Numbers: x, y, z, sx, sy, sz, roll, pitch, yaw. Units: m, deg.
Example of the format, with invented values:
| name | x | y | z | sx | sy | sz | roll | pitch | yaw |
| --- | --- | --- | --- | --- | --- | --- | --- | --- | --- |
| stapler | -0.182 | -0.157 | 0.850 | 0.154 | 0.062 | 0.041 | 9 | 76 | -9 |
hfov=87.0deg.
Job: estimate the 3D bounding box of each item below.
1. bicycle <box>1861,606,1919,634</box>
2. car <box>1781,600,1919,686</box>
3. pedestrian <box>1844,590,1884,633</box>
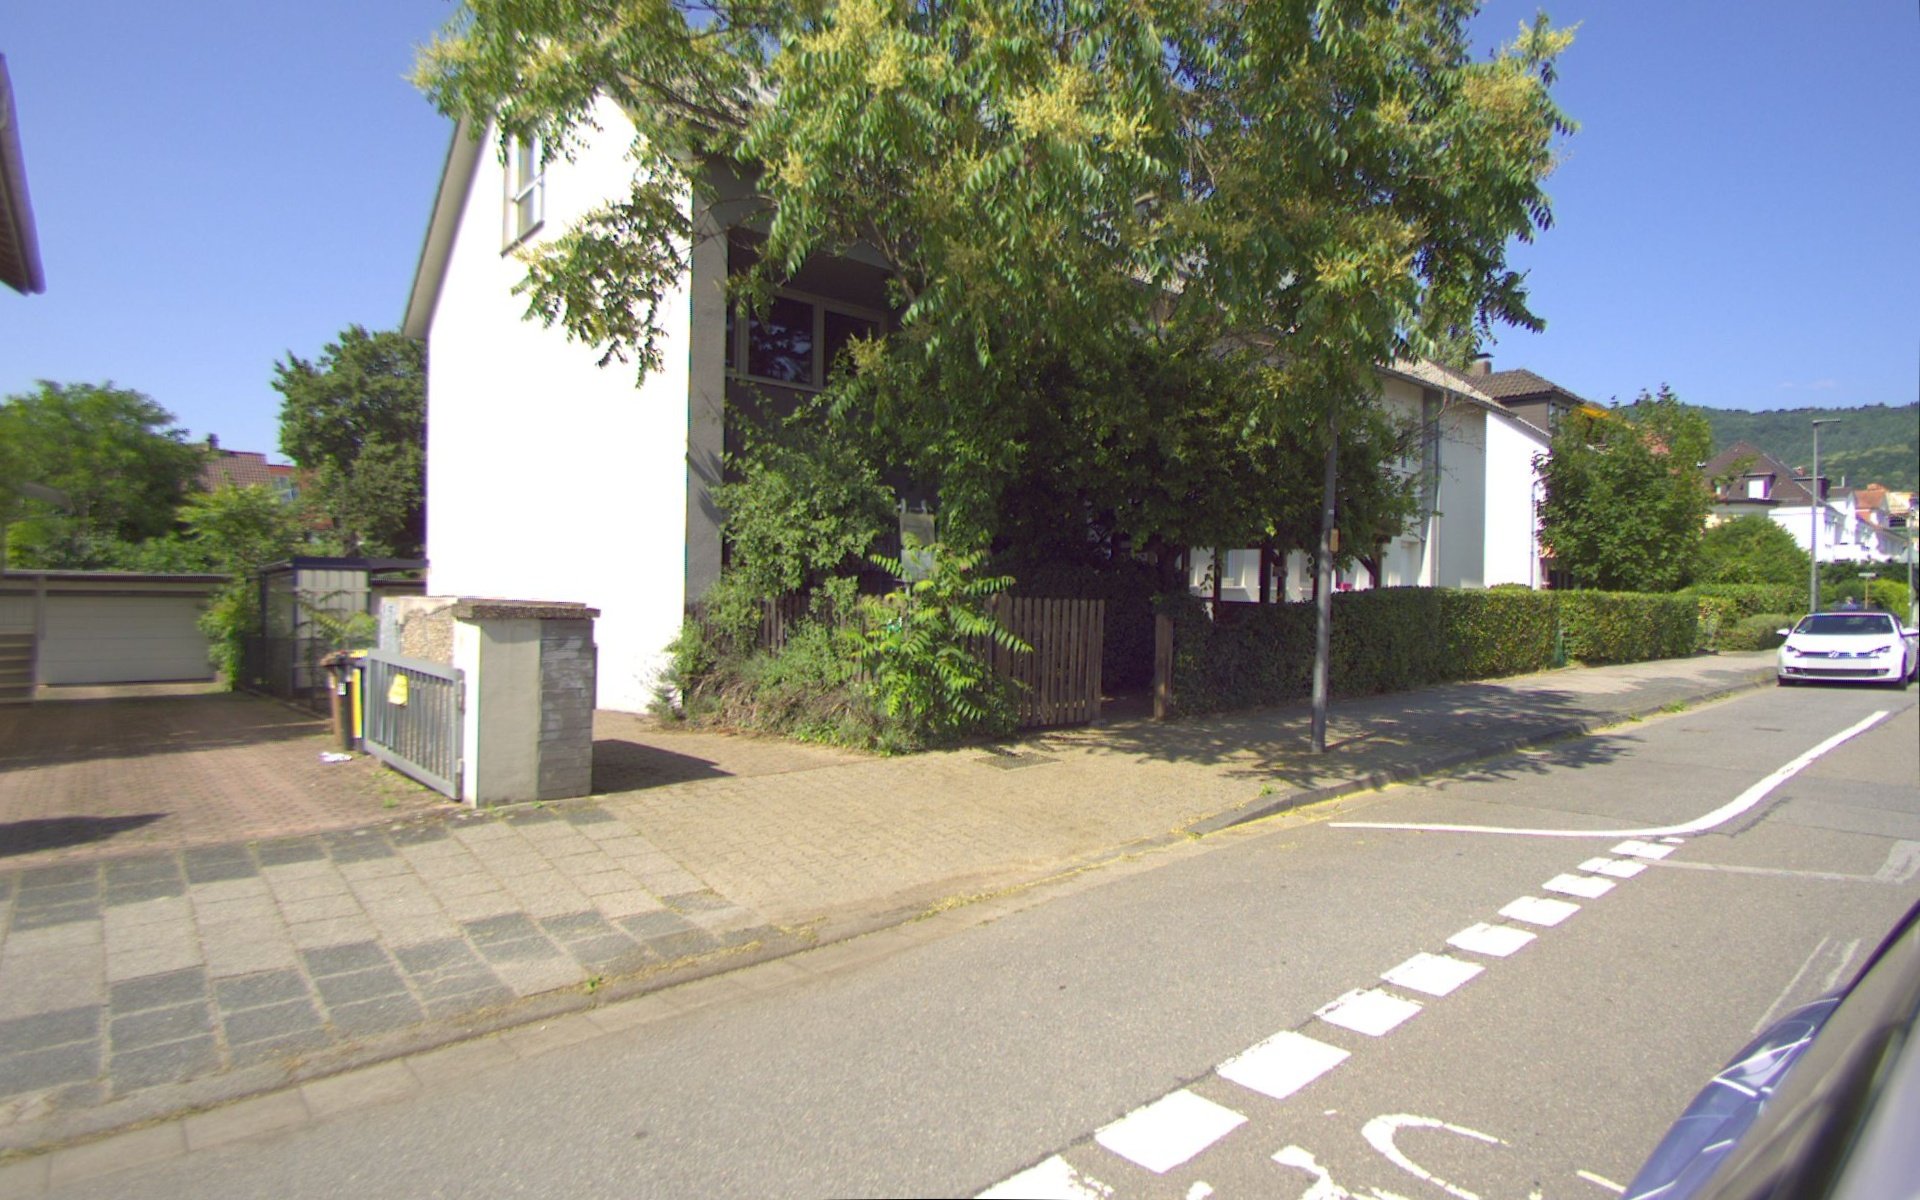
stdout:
| name | x | y | z | sx | sy | sz | roll | pitch | yaw |
| --- | --- | --- | --- | --- | --- | --- | --- | --- | --- |
| bicycle | 42.116 | 0.894 | 45.324 | 0.846 | 1.173 | 2.716 | 0 | 1 | -9 |
| car | 16.828 | 0.729 | 18.882 | 4.003 | 1.420 | 1.742 | 0 | -1 | -42 |
| pedestrian | 41.288 | 0.504 | 46.234 | 0.889 | 1.896 | 1.183 | 1 | 1 | 16 |
